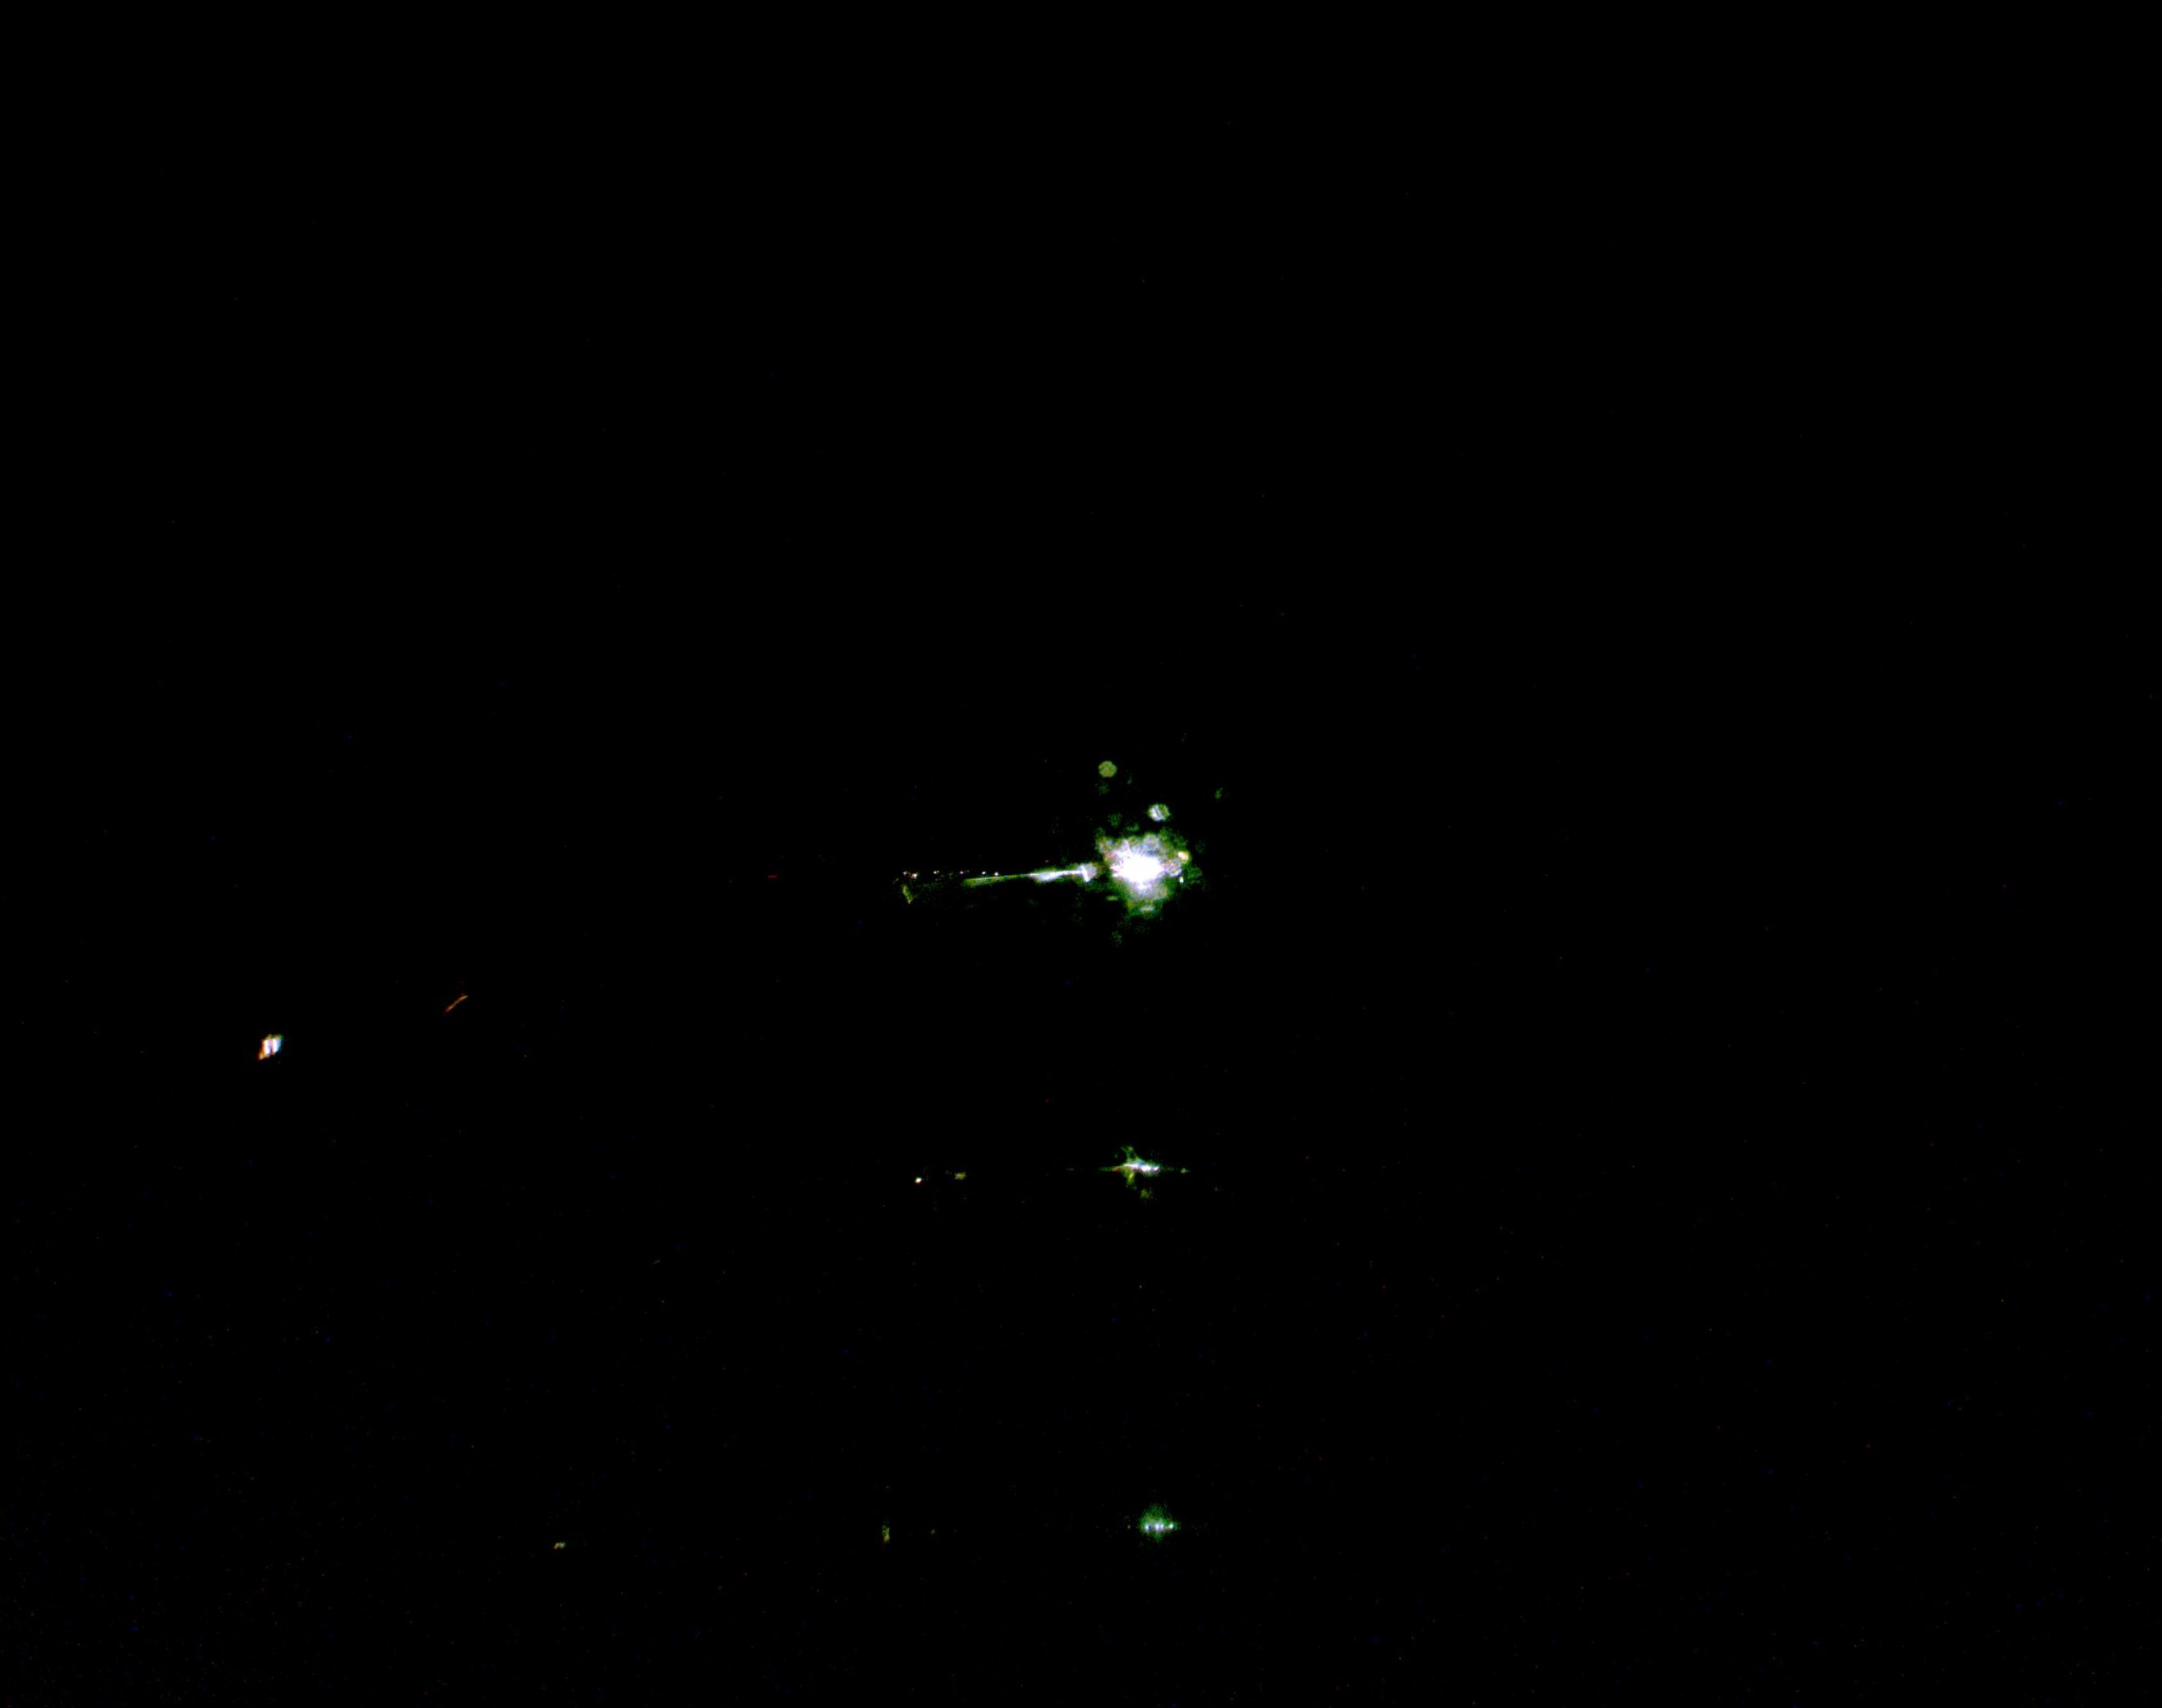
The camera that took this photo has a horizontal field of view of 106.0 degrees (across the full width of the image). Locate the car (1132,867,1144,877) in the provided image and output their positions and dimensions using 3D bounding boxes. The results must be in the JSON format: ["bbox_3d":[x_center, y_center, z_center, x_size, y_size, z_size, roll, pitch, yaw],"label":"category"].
[{"bbox_3d":[8.696,2.714,124.307,1.731,1.402,3.867,-1,-1,6],"label":"car"}]
